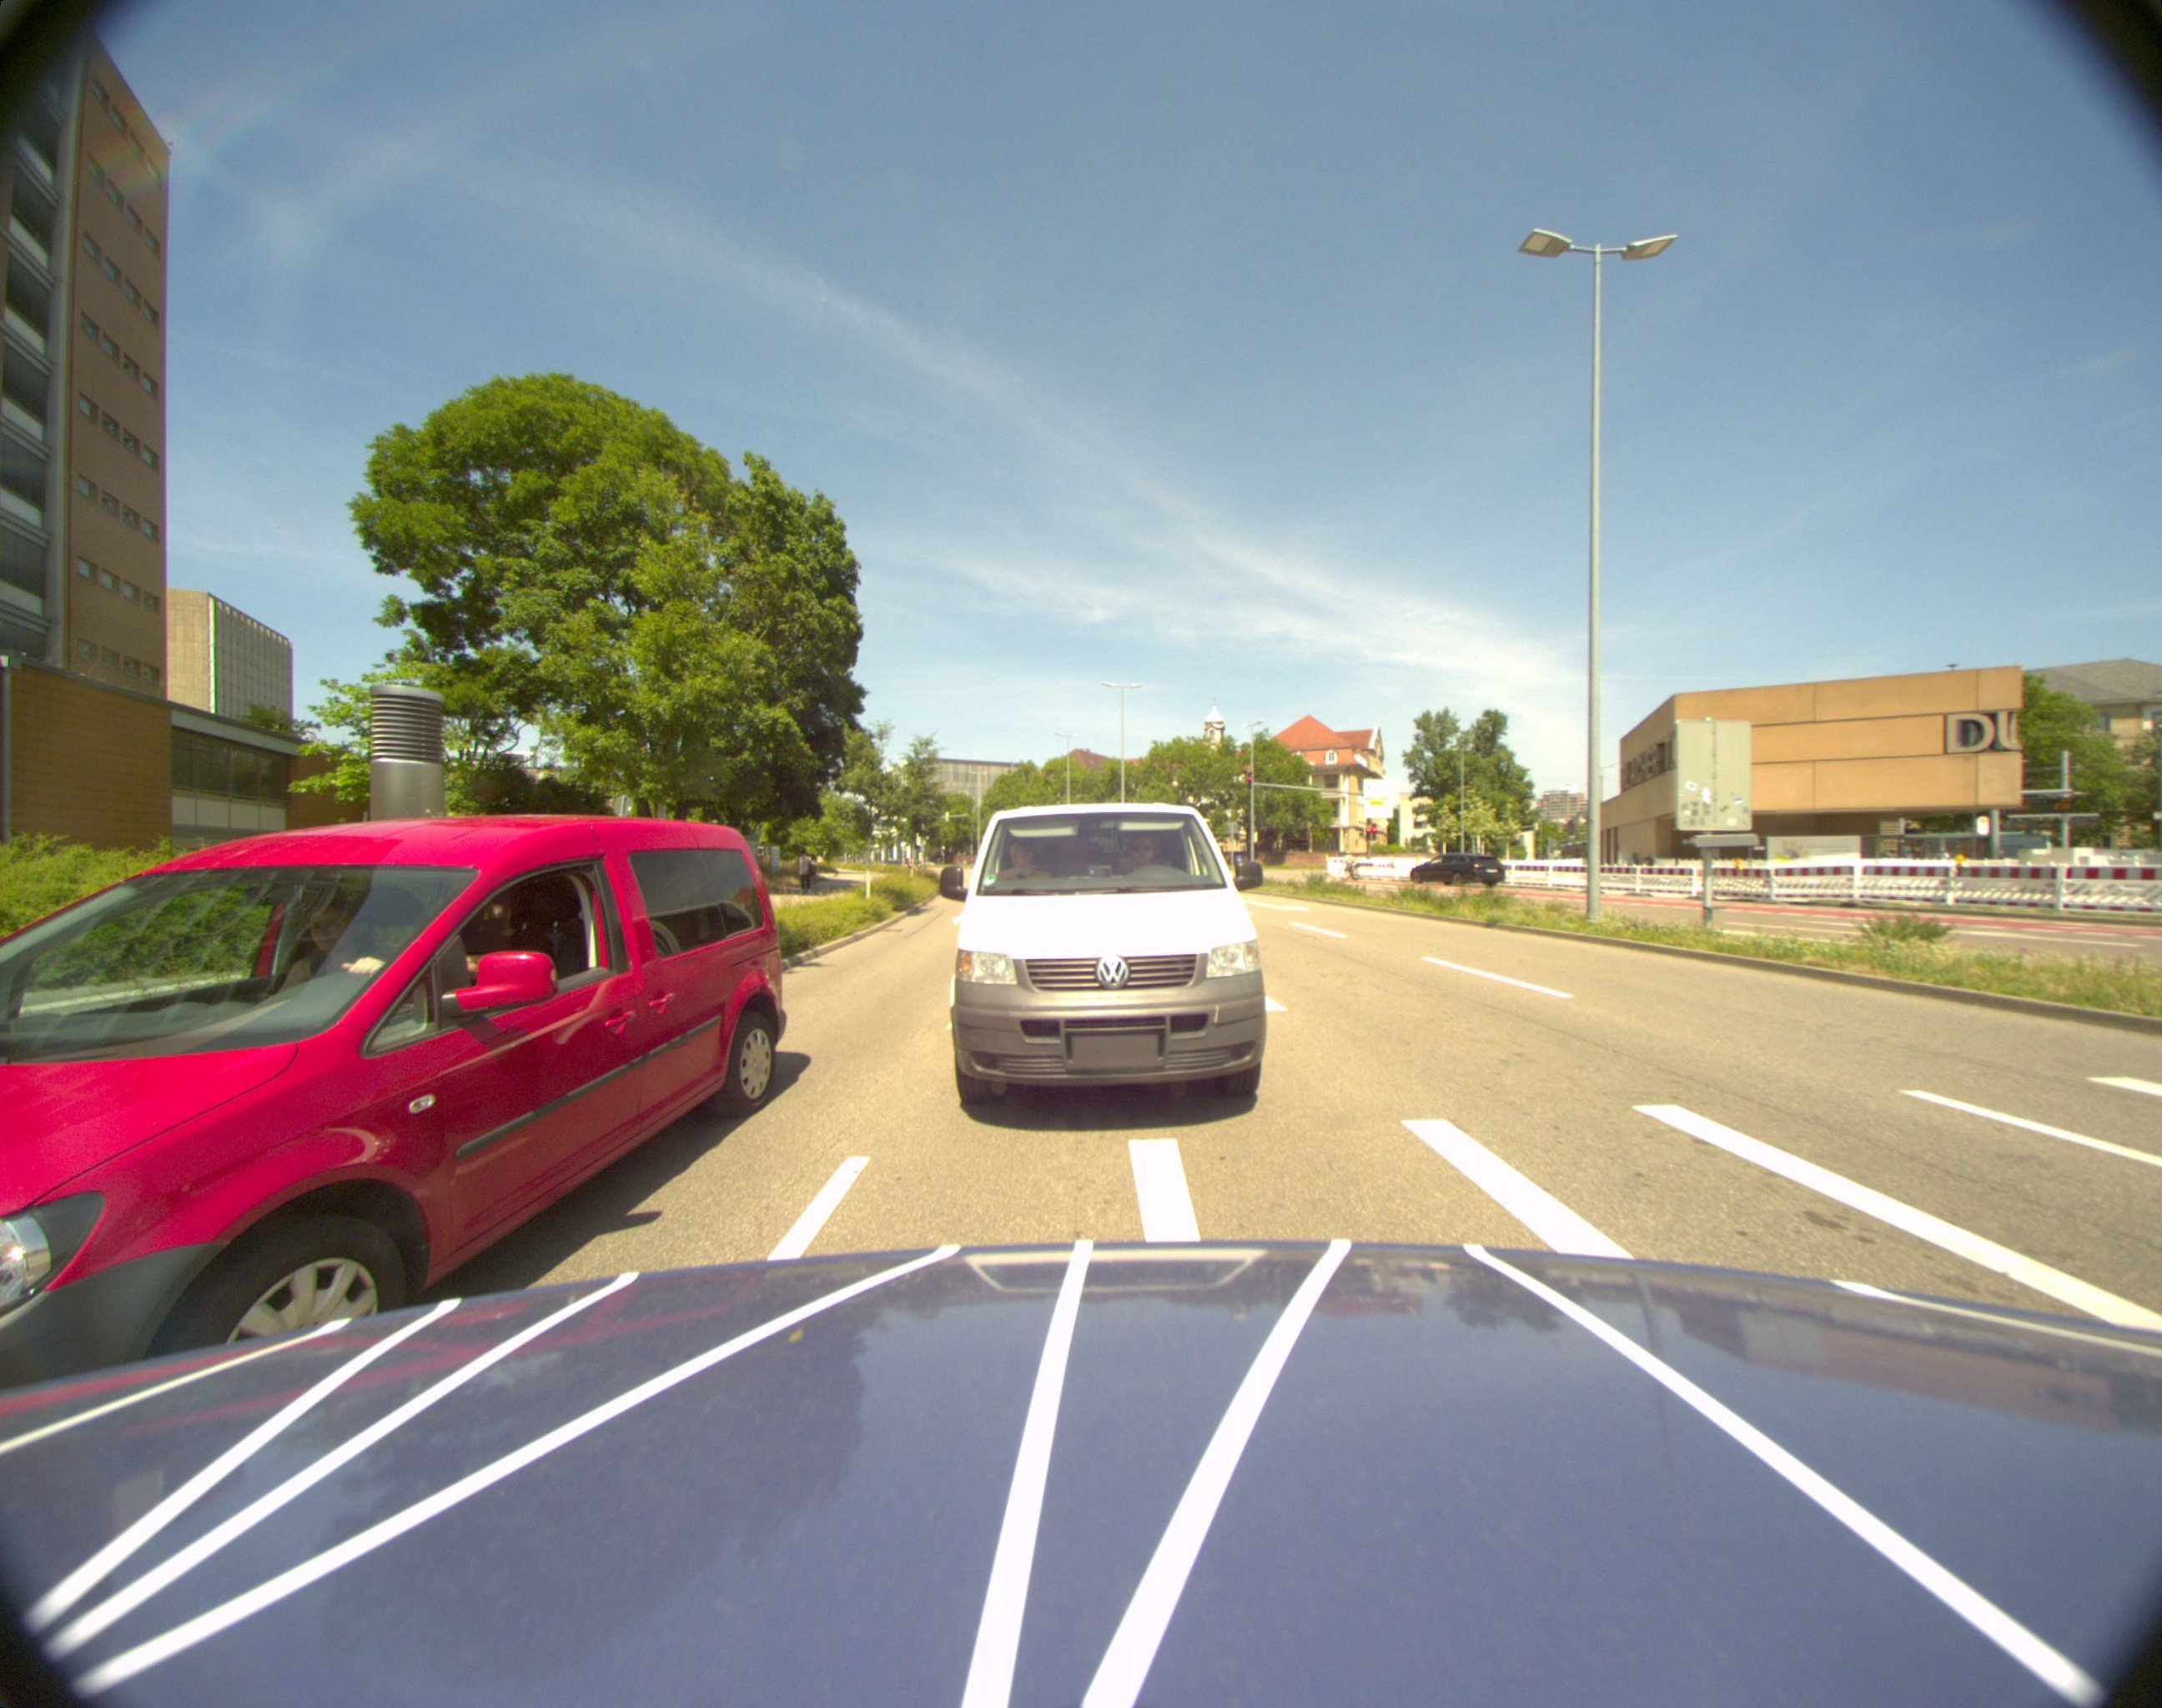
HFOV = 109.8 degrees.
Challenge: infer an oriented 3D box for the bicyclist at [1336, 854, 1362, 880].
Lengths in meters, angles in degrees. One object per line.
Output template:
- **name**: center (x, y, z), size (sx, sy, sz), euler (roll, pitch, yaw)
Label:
- **bicyclist**: center (14.402, 0.661, 40.828), size (0.587, 1.348, 1.438), euler (-3, 1, -14)

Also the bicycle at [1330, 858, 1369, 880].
- **bicycle**: center (14.379, 0.790, 40.809), size (0.879, 1.066, 2.229), euler (-2, 1, -14)

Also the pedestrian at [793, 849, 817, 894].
- **pedestrian**: center (-11.163, 0.698, 30.751), size (0.728, 1.787, 0.614), euler (0, 1, 1)

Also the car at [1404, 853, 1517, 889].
- **car**: center (16.898, 0.716, 34.170), size (2.000, 1.456, 4.841), euler (0, 0, -11)

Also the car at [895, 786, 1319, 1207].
- **car**: center (0.116, 0.675, 6.074), size (1.971, 1.958, 4.848), euler (-2, 0, 0)

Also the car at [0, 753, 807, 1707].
- **car**: center (-2.846, 0.747, 3.162), size (1.655, 1.848, 4.546), euler (-1, 0, 1)
